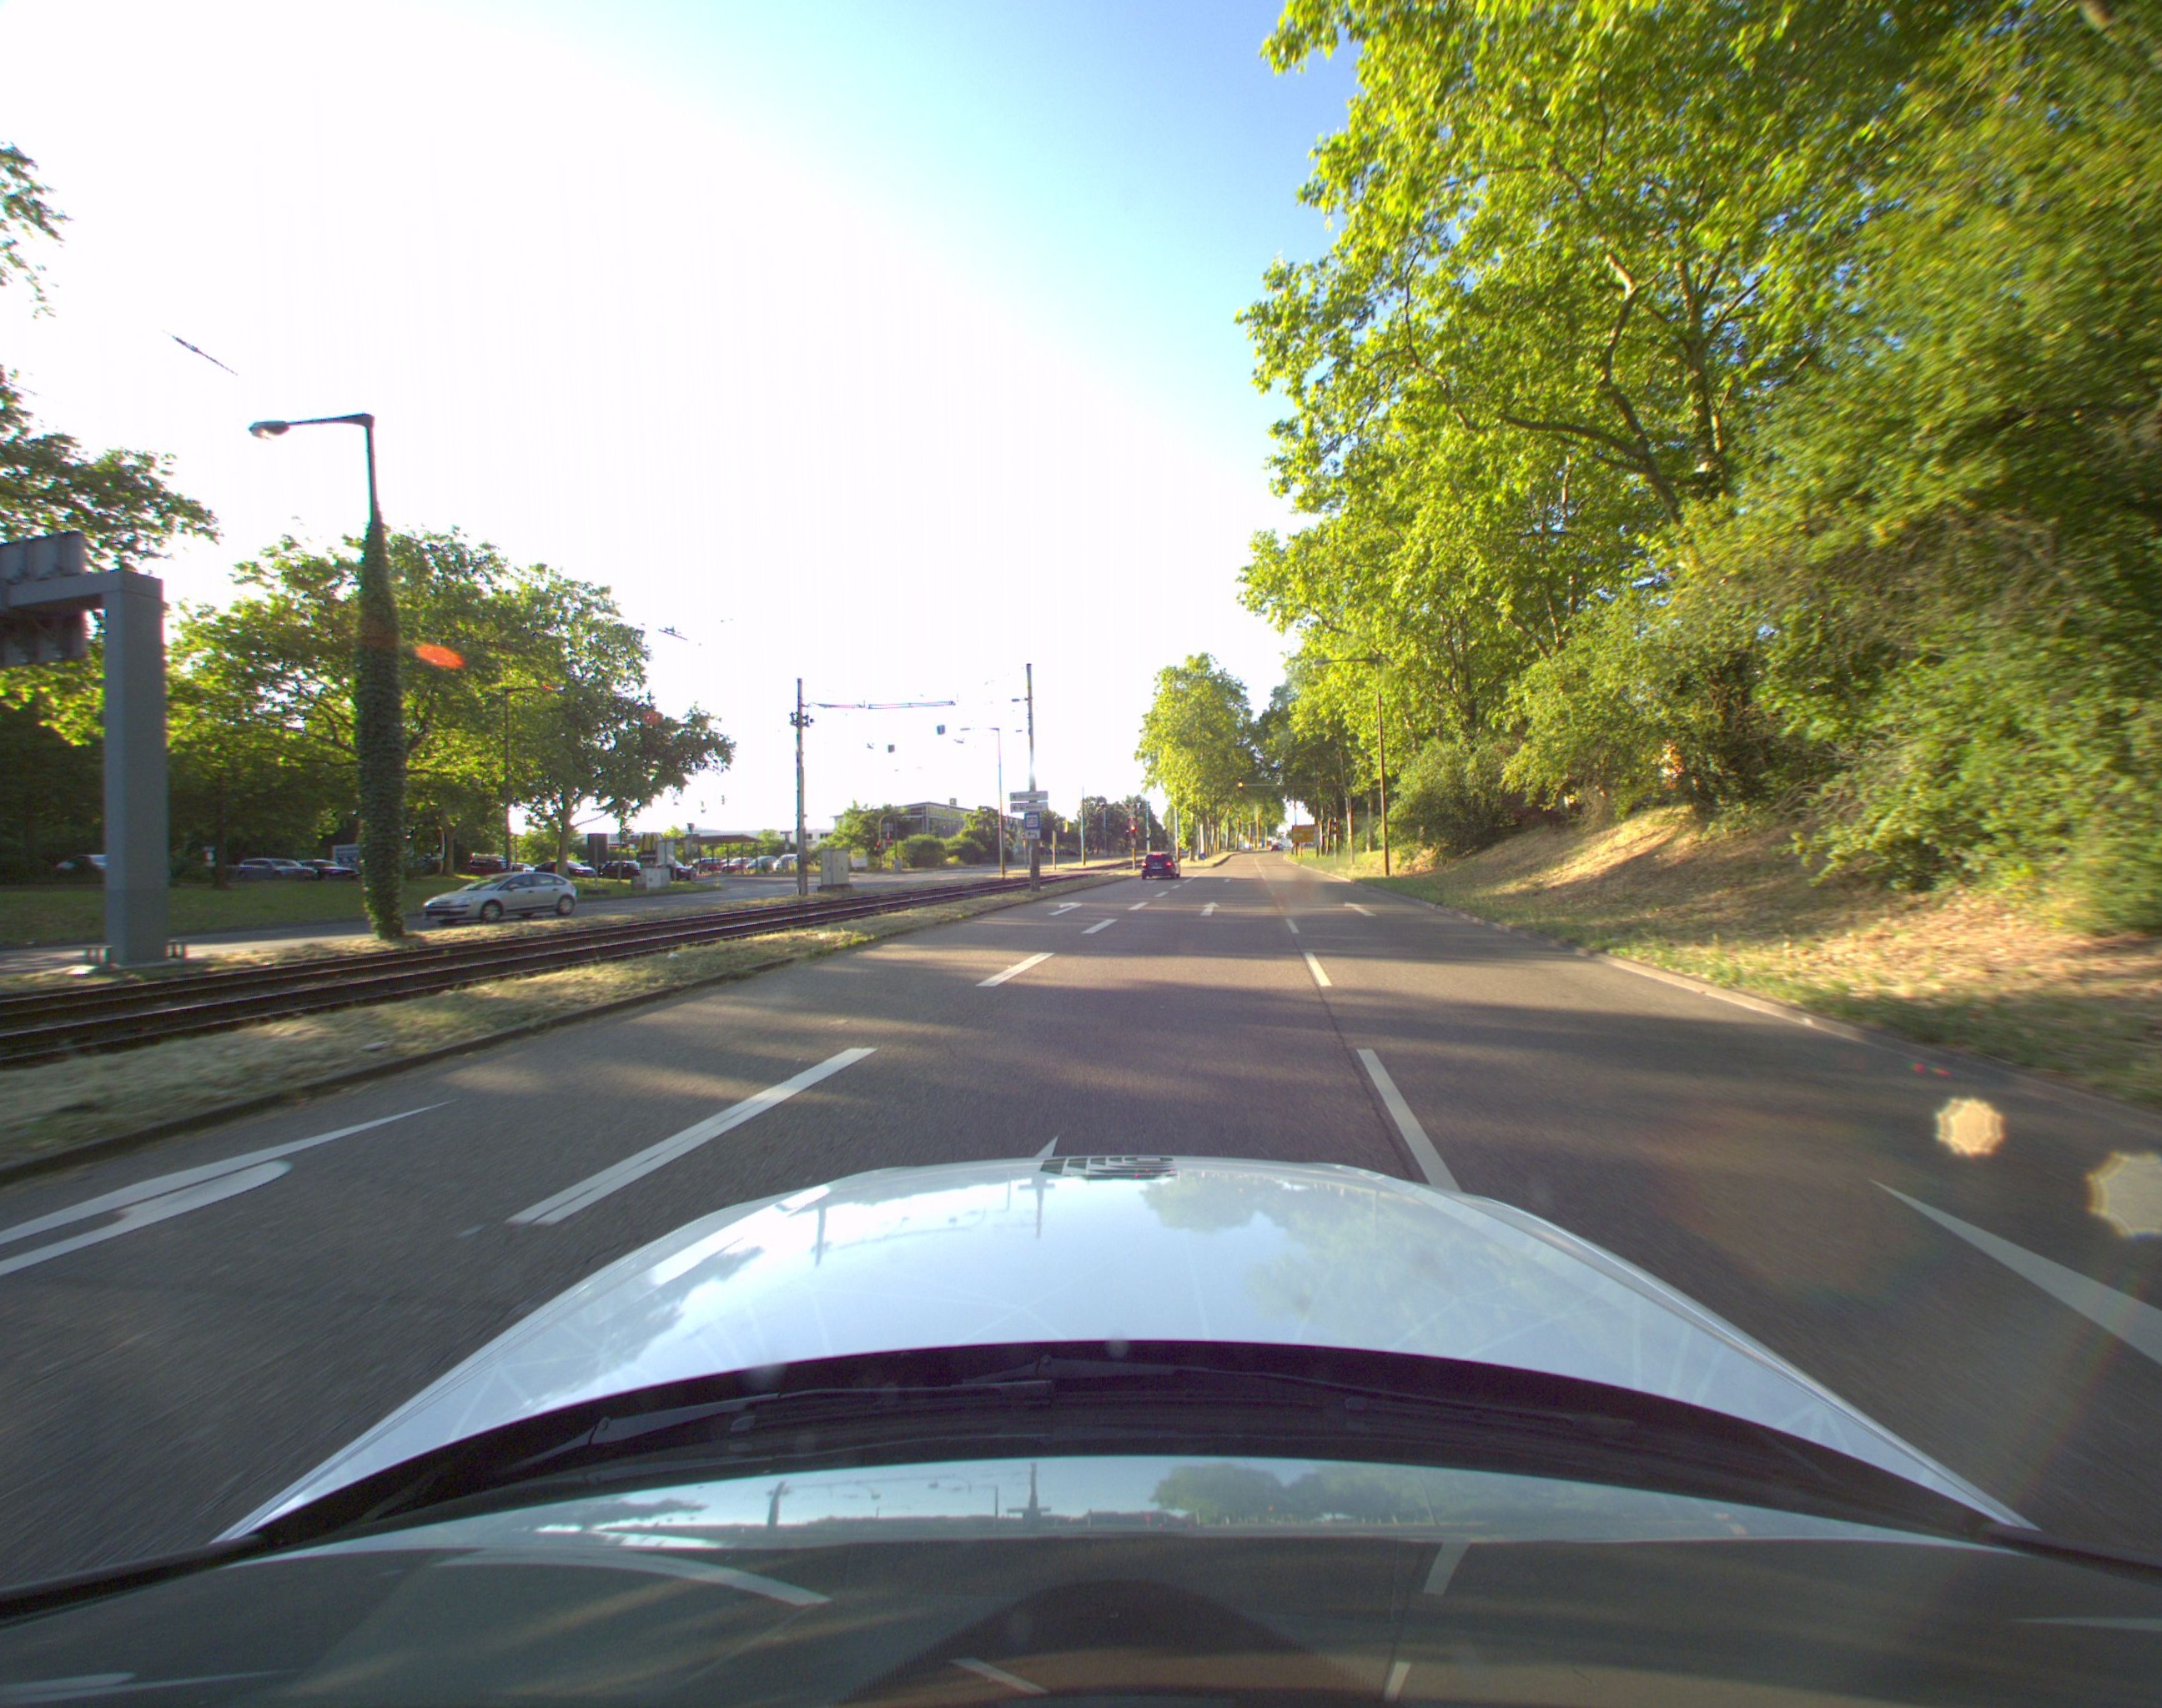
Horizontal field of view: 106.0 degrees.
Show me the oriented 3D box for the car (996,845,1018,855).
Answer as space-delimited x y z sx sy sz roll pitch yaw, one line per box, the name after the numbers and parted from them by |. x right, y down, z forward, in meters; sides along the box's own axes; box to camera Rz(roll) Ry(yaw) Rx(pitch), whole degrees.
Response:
-11.360 -0.603 125.176 3.124 1.391 1.459 -1 0 8 | car

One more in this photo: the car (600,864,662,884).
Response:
-33.522 1.488 60.668 4.023 1.387 1.792 -1 0 18 | car

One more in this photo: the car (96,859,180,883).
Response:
-60.426 1.088 52.204 3.958 1.530 1.931 -1 0 14 | car

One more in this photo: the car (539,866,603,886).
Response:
-38.612 1.659 61.668 4.027 1.387 1.790 -1 0 13 | car

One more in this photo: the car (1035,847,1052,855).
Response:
-7.435 -0.594 161.418 3.124 1.490 1.459 -1 0 8 | car

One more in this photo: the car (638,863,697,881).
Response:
-32.401 1.397 63.802 4.023 1.387 1.792 -1 0 18 | car

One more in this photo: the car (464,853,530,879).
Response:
-45.095 0.905 62.897 3.958 1.860 2.008 -1 0 14 | car

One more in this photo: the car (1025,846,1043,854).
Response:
-8.849 -0.778 152.519 3.124 1.490 1.459 -1 0 8 | car

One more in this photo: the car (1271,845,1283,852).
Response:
41.444 -1.232 172.121 1.776 1.403 3.711 -1 -1 27 | car

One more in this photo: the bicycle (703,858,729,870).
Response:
-33.225 0.939 74.090 0.659 1.065 2.206 -1 0 29 | bicycle

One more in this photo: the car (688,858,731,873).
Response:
-37.395 1.186 82.100 1.828 1.442 4.016 -1 0 14 | car

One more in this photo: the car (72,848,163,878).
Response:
-51.322 0.478 43.380 3.953 1.530 1.870 -1 0 20 | car

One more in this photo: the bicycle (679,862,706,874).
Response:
-35.868 1.271 75.182 0.659 1.065 2.206 -1 0 42 | bicycle

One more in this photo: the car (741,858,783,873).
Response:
-31.310 1.097 80.122 1.828 1.442 4.016 -1 0 14 | car

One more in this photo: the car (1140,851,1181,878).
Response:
4.374 0.552 44.417 1.780 1.403 3.702 -1 0 13 | car

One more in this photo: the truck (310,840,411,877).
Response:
-67.485 0.433 76.333 8.232 3.388 2.744 -1 0 12 | truck

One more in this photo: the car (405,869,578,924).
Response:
-17.898 1.240 25.000 1.642 1.416 4.272 -1 0 12 | car

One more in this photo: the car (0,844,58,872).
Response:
-52.718 0.223 40.172 3.483 1.332 1.590 -1 0 16 | car

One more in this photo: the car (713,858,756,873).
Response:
-34.471 1.122 81.086 1.828 1.442 4.016 -1 0 14 | car

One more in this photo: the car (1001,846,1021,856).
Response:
-11.646 -0.497 135.769 3.124 1.490 1.459 -1 0 8 | car

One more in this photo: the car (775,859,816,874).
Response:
-28.005 1.202 79.963 1.828 1.442 4.016 -1 0 14 | car

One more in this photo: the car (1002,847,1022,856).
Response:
-11.861 -0.466 139.724 3.124 1.490 1.459 -1 0 8 | car

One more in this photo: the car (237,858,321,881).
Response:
-49.725 0.970 50.512 3.962 1.372 1.678 -1 0 10 | car

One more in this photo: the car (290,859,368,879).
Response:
-49.341 0.961 53.441 3.962 1.260 1.678 -1 0 10 | car
